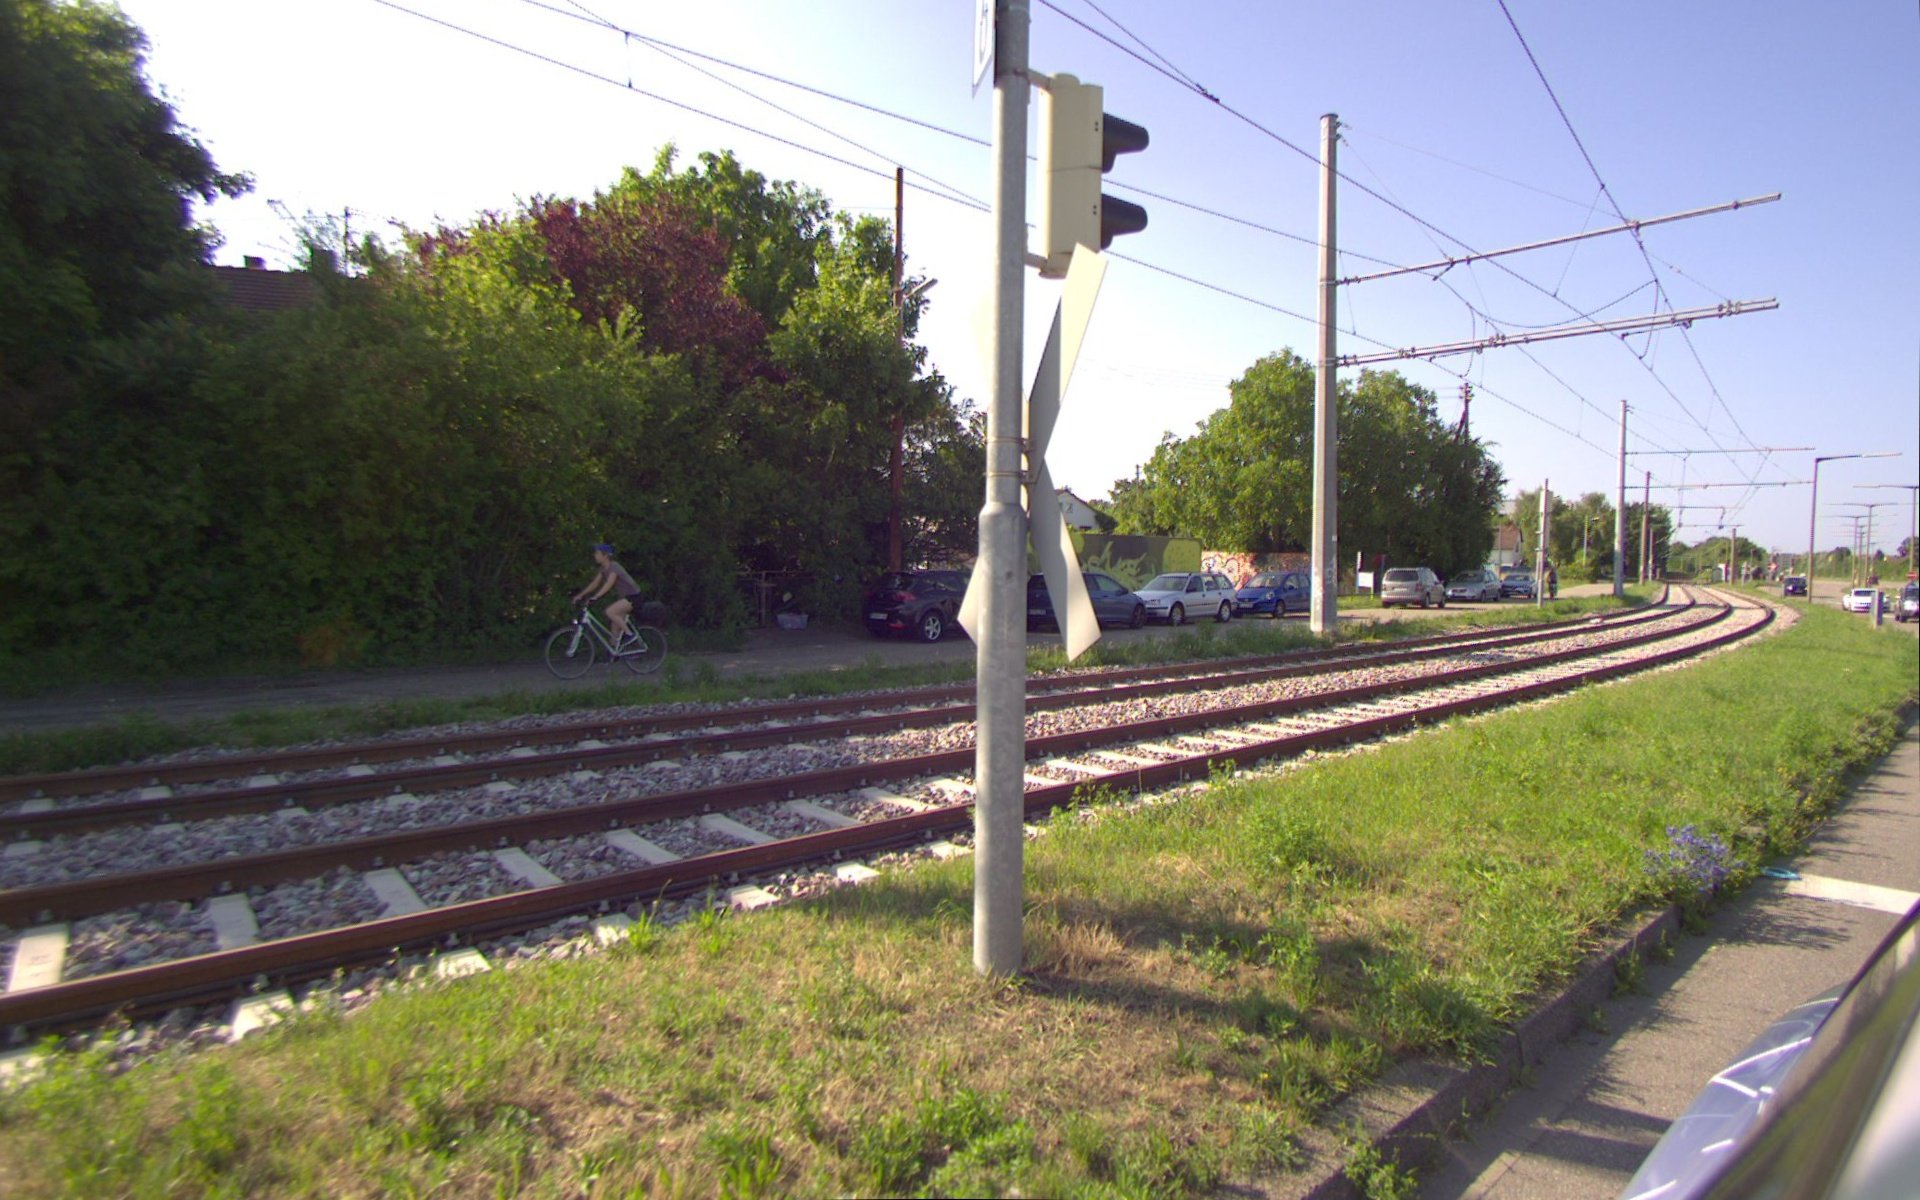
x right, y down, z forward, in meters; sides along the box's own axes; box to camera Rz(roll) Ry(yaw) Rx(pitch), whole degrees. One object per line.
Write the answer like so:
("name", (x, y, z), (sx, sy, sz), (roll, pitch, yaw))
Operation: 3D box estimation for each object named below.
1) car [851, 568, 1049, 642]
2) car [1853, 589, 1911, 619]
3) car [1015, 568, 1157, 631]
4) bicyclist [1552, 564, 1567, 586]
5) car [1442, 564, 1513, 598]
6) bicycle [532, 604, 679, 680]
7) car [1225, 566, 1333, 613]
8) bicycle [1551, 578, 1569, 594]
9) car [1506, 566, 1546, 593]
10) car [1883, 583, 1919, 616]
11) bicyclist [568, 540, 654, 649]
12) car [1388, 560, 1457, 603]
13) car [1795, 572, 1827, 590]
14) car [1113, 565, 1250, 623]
("car", (-0.112, 0.047, 21.594), (1.622, 1.428, 4.451), (0, 1, 43))
("car", (54.743, 0.201, 60.171), (1.957, 1.638, 4.255), (2, 2, 35))
("car", (3.201, -0.067, 25.115), (1.483, 1.418, 4.090), (2, 3, 40))
("bicyclist", (34.802, -1.441, 58.718), (0.638, 1.248, 0.780), (1, 1, 39))
("car", (25.996, -0.958, 50.751), (1.907, 1.609, 4.654), (3, 3, 43))
("bicycle", (-4.850, 0.547, 13.937), (1.812, 0.921, 0.644), (-1, 2, -42))
("car", (10.459, -0.362, 33.072), (3.845, 1.448, 1.680), (-1, 1, -43))
("bicycle", (34.815, -0.837, 58.735), (0.641, 0.921, 1.788), (1, 2, 39))
("car", (33.636, -1.235, 60.126), (1.530, 1.466, 4.077), (3, 3, 37))
("car", (45.084, -0.048, 47.967), (1.599, 1.532, 4.210), (0, 1, 37))
("bicyclist", (-4.812, -0.087, 13.961), (0.946, 1.440, 0.630), (-1, 2, -42))
("car", (18.902, -0.763, 41.300), (1.520, 1.630, 4.422), (3, 3, 38))
("car", (74.703, -1.674, 88.872), (1.827, 1.532, 4.100), (0, 1, 36))
("car", (6.359, -0.209, 28.838), (4.318, 1.483, 1.711), (-1, 3, -44))
